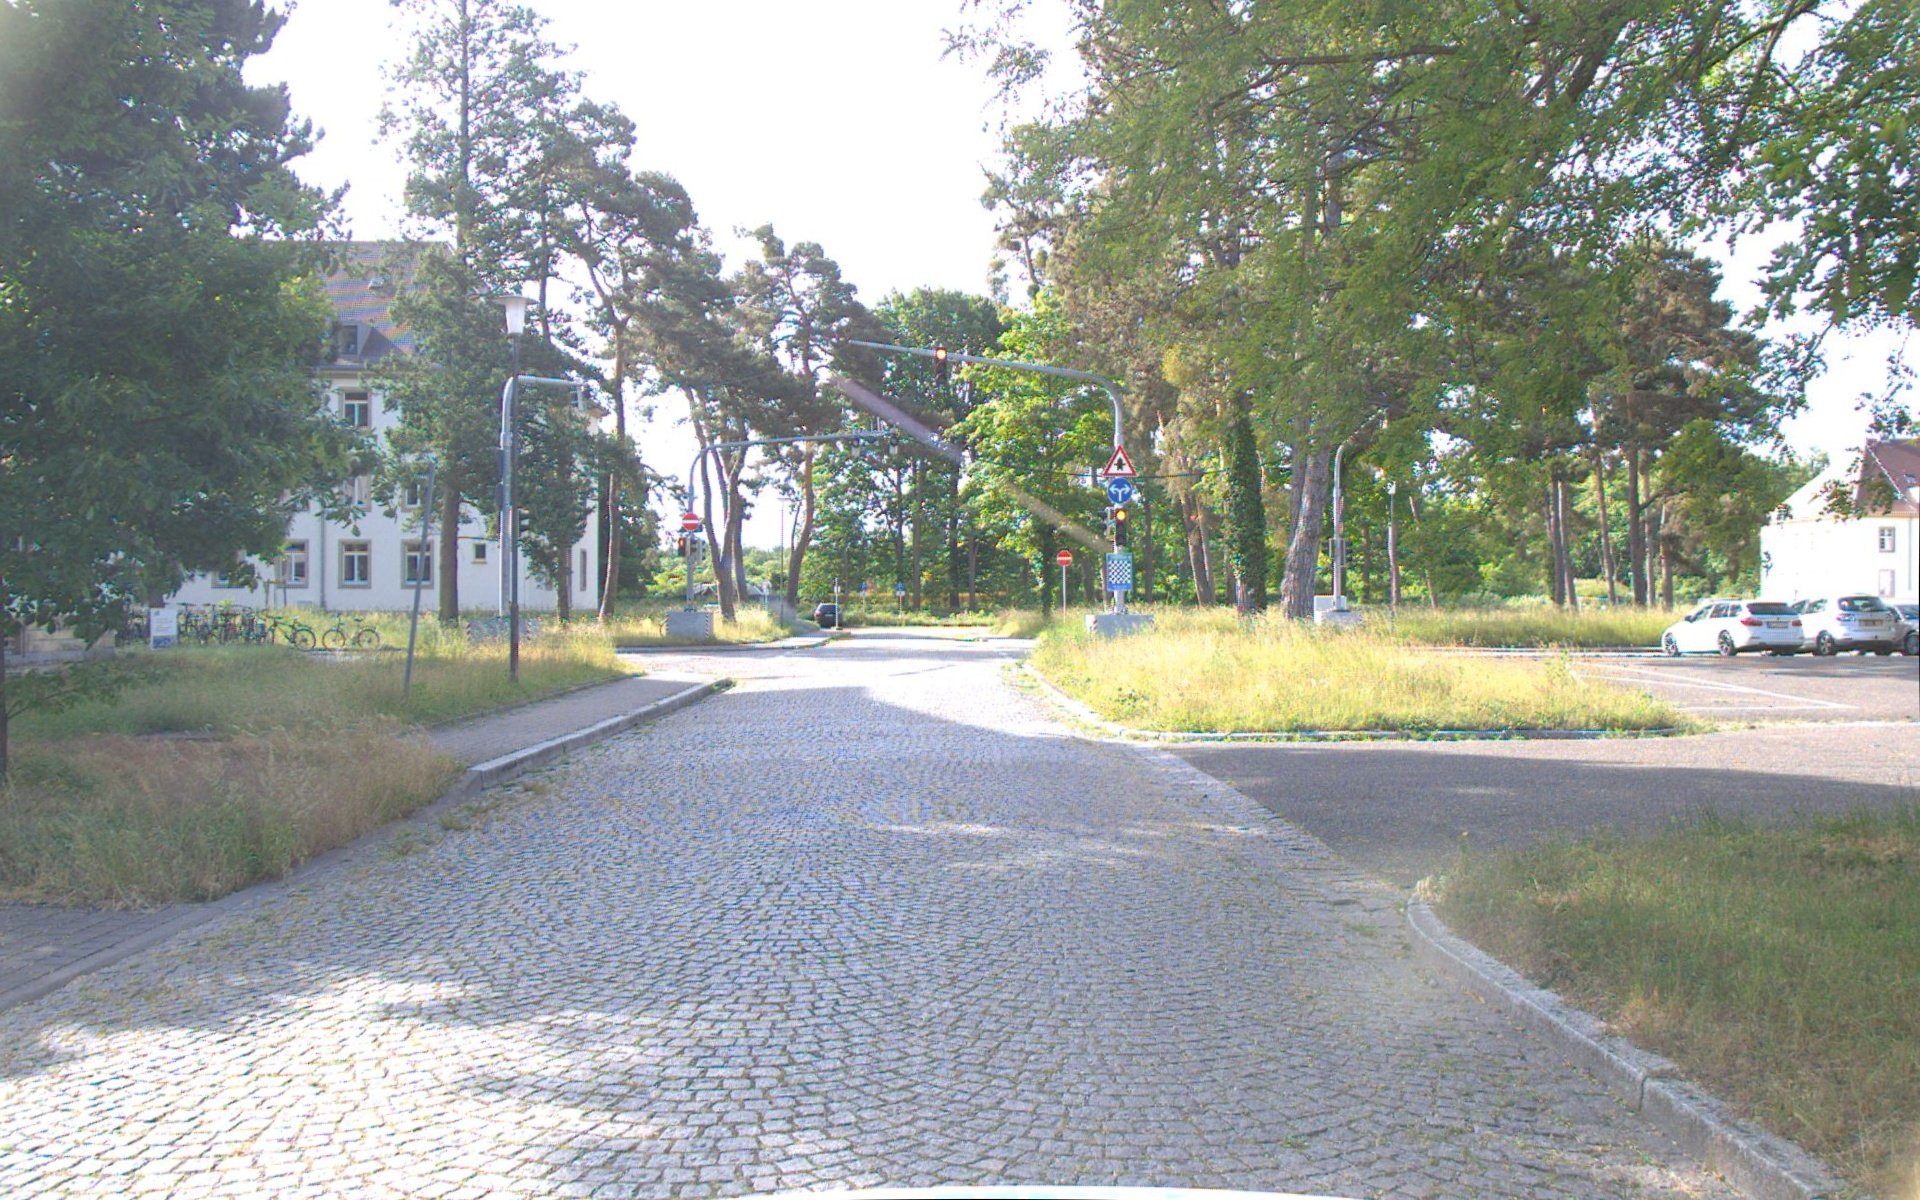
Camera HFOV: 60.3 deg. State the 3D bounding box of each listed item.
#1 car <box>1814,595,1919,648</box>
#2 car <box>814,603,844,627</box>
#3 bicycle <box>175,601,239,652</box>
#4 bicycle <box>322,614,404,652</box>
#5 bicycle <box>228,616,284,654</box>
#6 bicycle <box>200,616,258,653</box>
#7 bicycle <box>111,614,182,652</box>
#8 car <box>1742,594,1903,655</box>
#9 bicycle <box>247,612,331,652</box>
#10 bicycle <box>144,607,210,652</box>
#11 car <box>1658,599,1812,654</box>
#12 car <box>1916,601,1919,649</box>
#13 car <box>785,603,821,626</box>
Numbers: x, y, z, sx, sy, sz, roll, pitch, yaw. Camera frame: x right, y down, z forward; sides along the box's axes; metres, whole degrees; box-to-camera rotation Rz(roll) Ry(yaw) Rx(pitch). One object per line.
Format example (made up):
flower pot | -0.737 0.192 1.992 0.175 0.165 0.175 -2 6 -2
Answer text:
car | 24.694 0.546 43.772 1.697 1.335 4.327 1 0 -5
car | -8.368 0.954 105.785 1.808 1.512 3.997 0 0 -4
bicycle | -22.425 0.777 49.327 0.809 1.462 2.553 0 0 -2
bicycle | -17.334 0.957 48.036 2.076 1.065 0.828 0 0 -5
bicycle | -20.874 1.021 49.078 0.809 1.065 2.123 0 0 -2
bicycle | -21.640 1.005 49.010 0.809 1.065 2.123 0 0 -2
bicycle | -24.060 0.954 48.972 0.882 1.065 2.553 0 0 -2
car | 22.479 0.612 43.314 1.697 1.502 4.327 0 0 -5
bicycle | -19.414 0.915 47.874 2.076 1.128 0.828 0 0 -5
bicycle | -23.175 0.854 49.001 0.809 1.303 2.553 0 0 -2
car | 20.016 0.648 42.927 1.697 1.335 4.327 0 0 -5
car | 27.713 0.694 44.066 1.697 1.335 4.327 -1 0 -5
car | -10.471 0.947 110.479 1.745 1.516 3.757 0 0 5
